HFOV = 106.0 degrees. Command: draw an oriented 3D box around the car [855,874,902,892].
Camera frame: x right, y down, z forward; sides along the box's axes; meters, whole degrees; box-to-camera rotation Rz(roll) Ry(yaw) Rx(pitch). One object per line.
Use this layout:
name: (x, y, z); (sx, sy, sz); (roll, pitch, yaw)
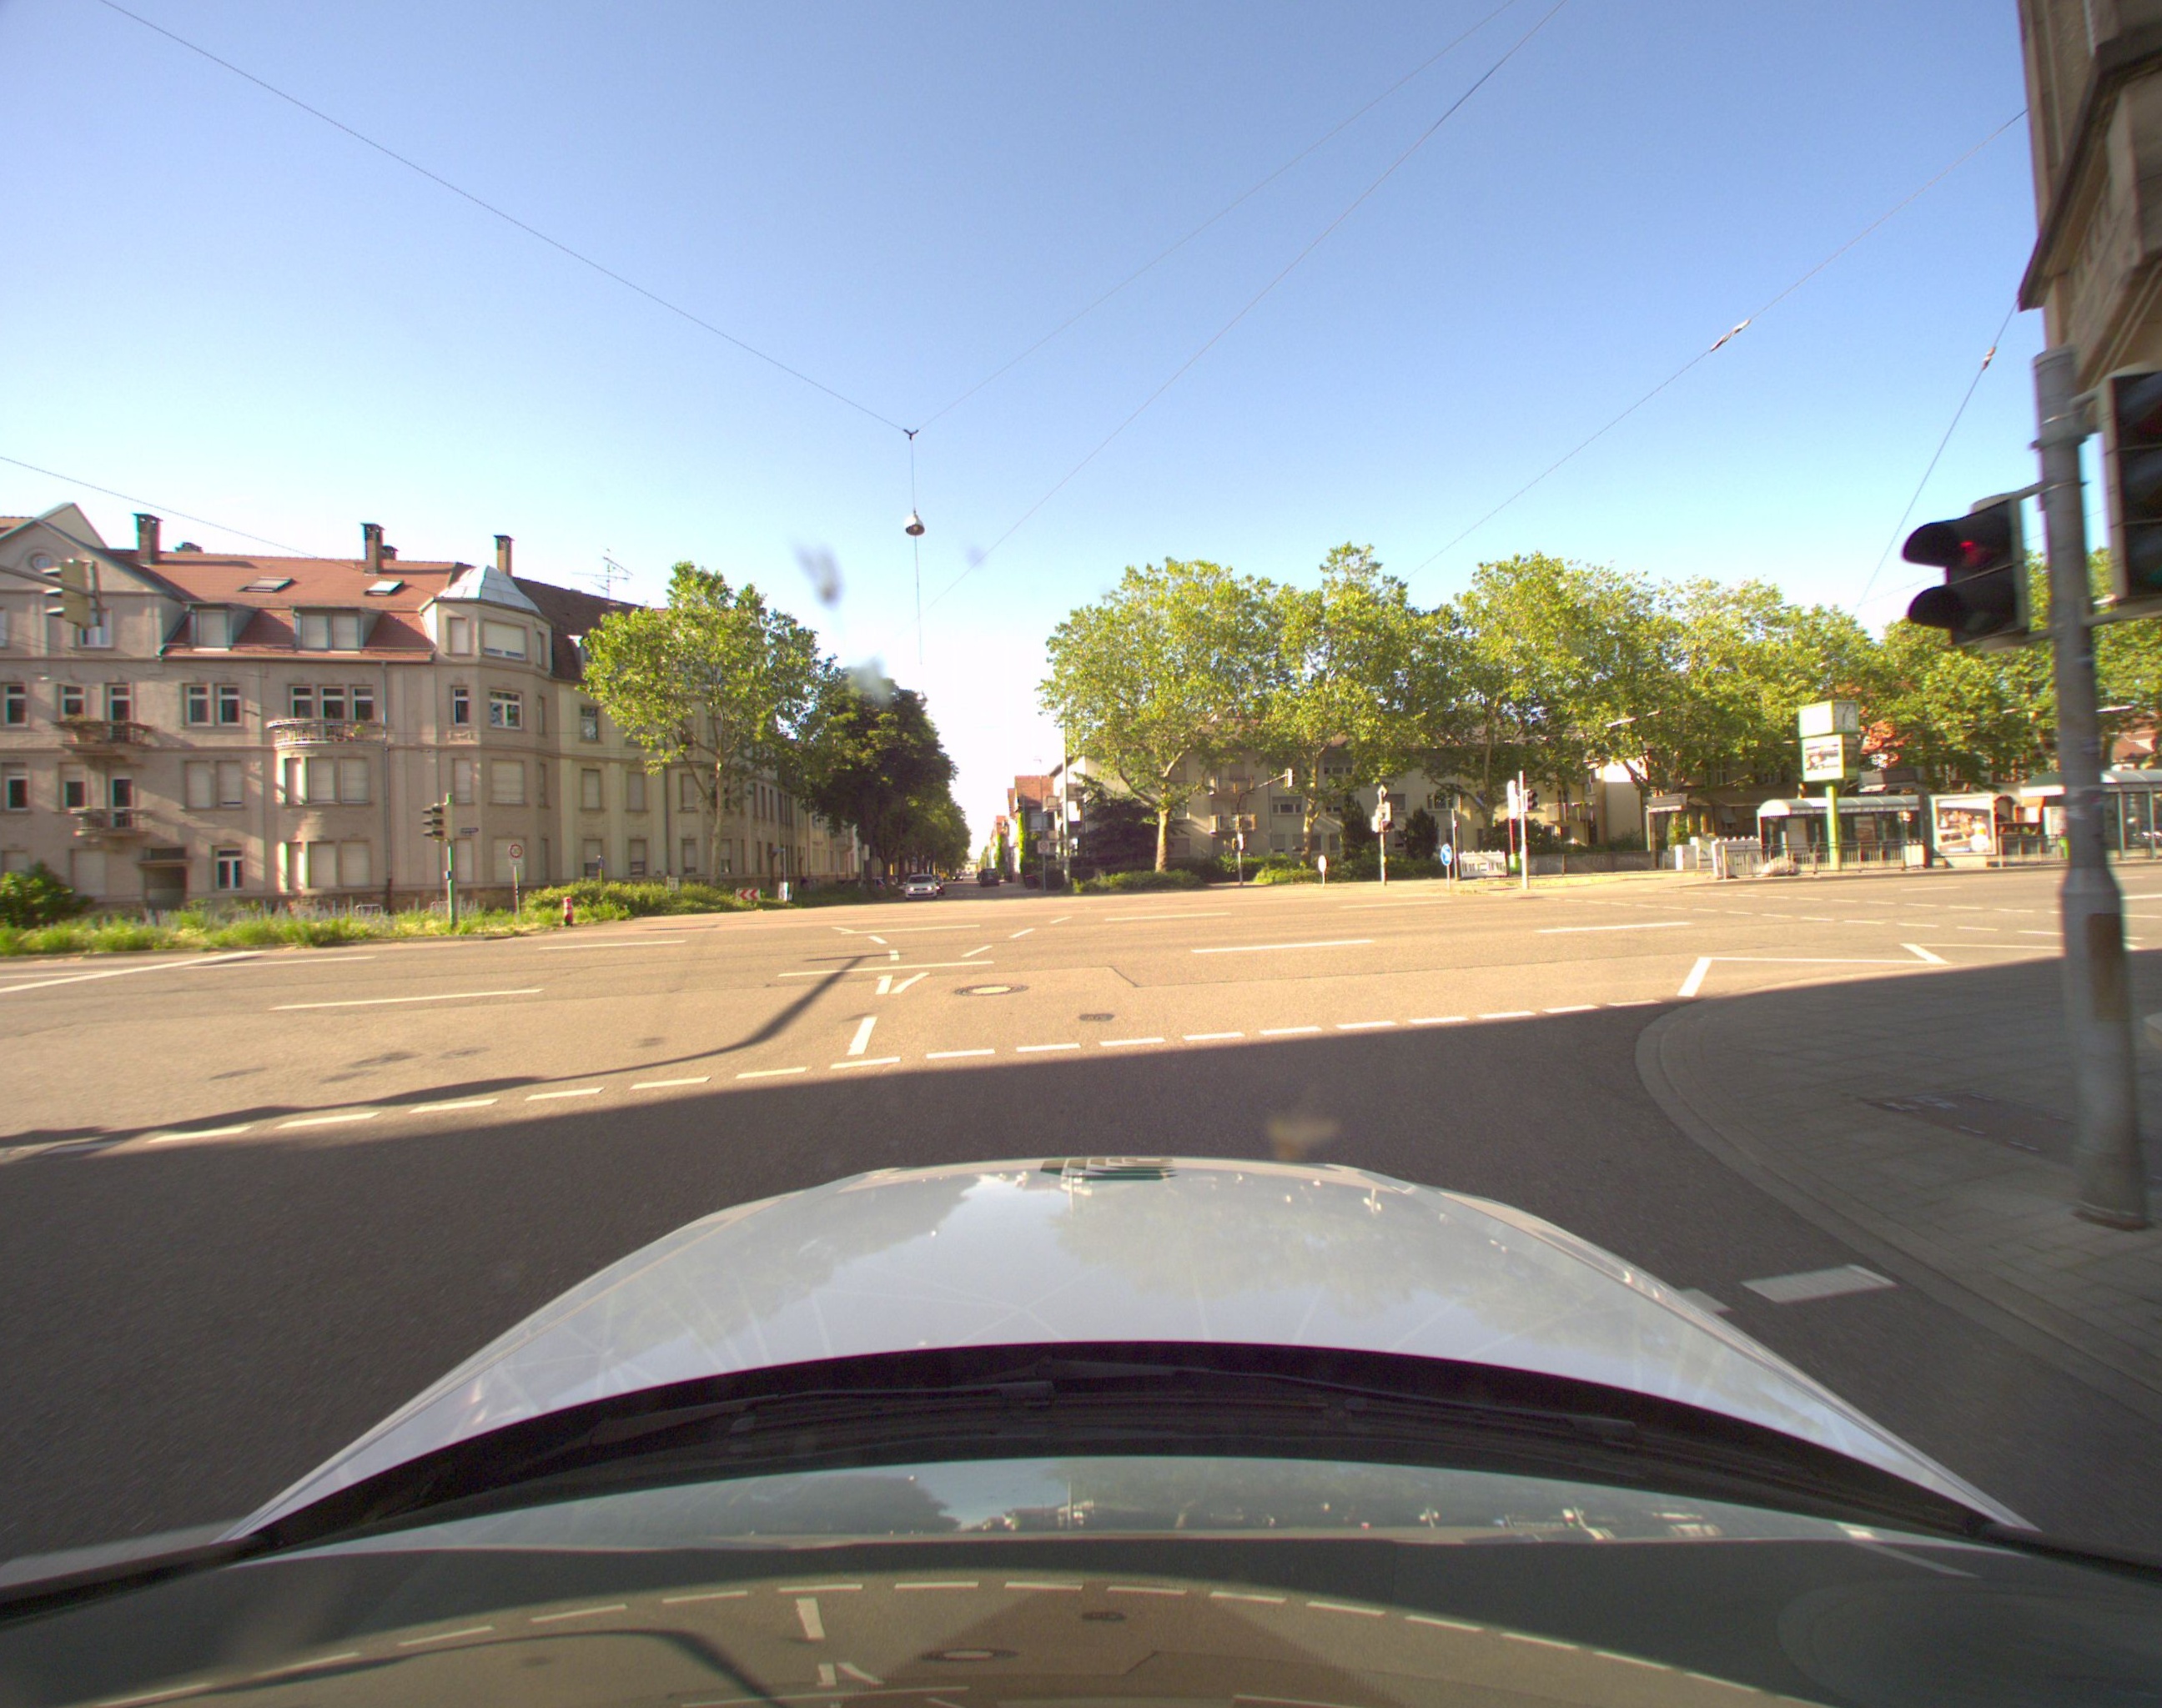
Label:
car: (-18.846, 2.694, 75.948); (3.983, 1.508, 1.718); (-3, -1, -7)

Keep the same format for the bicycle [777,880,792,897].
bicycle: (-20.380, 2.358, 55.947); (0.513, 1.154, 1.977); (0, 0, -7)

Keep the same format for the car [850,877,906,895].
car: (-16.578, 2.610, 66.639); (4.210, 1.349, 1.698); (-1, -2, -9)

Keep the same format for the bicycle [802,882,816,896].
bicycle: (-18.629, 2.399, 55.806); (0.470, 0.912, 1.596); (-2, -1, -1)

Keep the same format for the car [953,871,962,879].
car: (-23.053, 3.943, 152.395); (1.640, 1.508, 3.691); (-3, -1, -8)

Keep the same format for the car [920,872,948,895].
car: (-10.460, 2.083, 58.136); (1.659, 1.464, 3.799); (-2, -1, -7)

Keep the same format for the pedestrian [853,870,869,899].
pedestrian: (-13.004, 1.786, 48.147); (0.691, 1.682, 0.680); (-2, -1, 3)

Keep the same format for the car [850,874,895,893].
car: (-17.548, 2.468, 68.721); (3.429, 1.452, 1.699); (-1, -2, -6)

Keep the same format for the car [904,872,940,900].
car: (-9.089, 1.835, 46.812); (1.805, 1.458, 3.987); (-2, -2, -9)

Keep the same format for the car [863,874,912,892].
car: (-16.902, 2.541, 71.322); (3.983, 1.482, 1.781); (-1, -1, -7)

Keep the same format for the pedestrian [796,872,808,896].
pedestrian: (-19.110, 2.051, 55.747); (0.458, 1.658, 0.894); (-2, -1, 0)

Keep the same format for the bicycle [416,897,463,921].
bicycle: (-26.470, 2.271, 33.625); (1.435, 0.905, 0.495); (-2, -1, -12)

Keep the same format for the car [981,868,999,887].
car: (-9.711, 2.495, 86.614); (1.863, 1.916, 4.769); (1, -1, -7)

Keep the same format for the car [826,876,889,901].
car: (-15.162, 2.325, 55.488); (3.881, 1.476, 1.610); (-3, -1, -9)

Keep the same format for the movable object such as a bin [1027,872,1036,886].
movable object such as a bin: (-3.884, 1.973, 63.815); (0.597, 1.044, 0.705); (-6, -1, -10)
